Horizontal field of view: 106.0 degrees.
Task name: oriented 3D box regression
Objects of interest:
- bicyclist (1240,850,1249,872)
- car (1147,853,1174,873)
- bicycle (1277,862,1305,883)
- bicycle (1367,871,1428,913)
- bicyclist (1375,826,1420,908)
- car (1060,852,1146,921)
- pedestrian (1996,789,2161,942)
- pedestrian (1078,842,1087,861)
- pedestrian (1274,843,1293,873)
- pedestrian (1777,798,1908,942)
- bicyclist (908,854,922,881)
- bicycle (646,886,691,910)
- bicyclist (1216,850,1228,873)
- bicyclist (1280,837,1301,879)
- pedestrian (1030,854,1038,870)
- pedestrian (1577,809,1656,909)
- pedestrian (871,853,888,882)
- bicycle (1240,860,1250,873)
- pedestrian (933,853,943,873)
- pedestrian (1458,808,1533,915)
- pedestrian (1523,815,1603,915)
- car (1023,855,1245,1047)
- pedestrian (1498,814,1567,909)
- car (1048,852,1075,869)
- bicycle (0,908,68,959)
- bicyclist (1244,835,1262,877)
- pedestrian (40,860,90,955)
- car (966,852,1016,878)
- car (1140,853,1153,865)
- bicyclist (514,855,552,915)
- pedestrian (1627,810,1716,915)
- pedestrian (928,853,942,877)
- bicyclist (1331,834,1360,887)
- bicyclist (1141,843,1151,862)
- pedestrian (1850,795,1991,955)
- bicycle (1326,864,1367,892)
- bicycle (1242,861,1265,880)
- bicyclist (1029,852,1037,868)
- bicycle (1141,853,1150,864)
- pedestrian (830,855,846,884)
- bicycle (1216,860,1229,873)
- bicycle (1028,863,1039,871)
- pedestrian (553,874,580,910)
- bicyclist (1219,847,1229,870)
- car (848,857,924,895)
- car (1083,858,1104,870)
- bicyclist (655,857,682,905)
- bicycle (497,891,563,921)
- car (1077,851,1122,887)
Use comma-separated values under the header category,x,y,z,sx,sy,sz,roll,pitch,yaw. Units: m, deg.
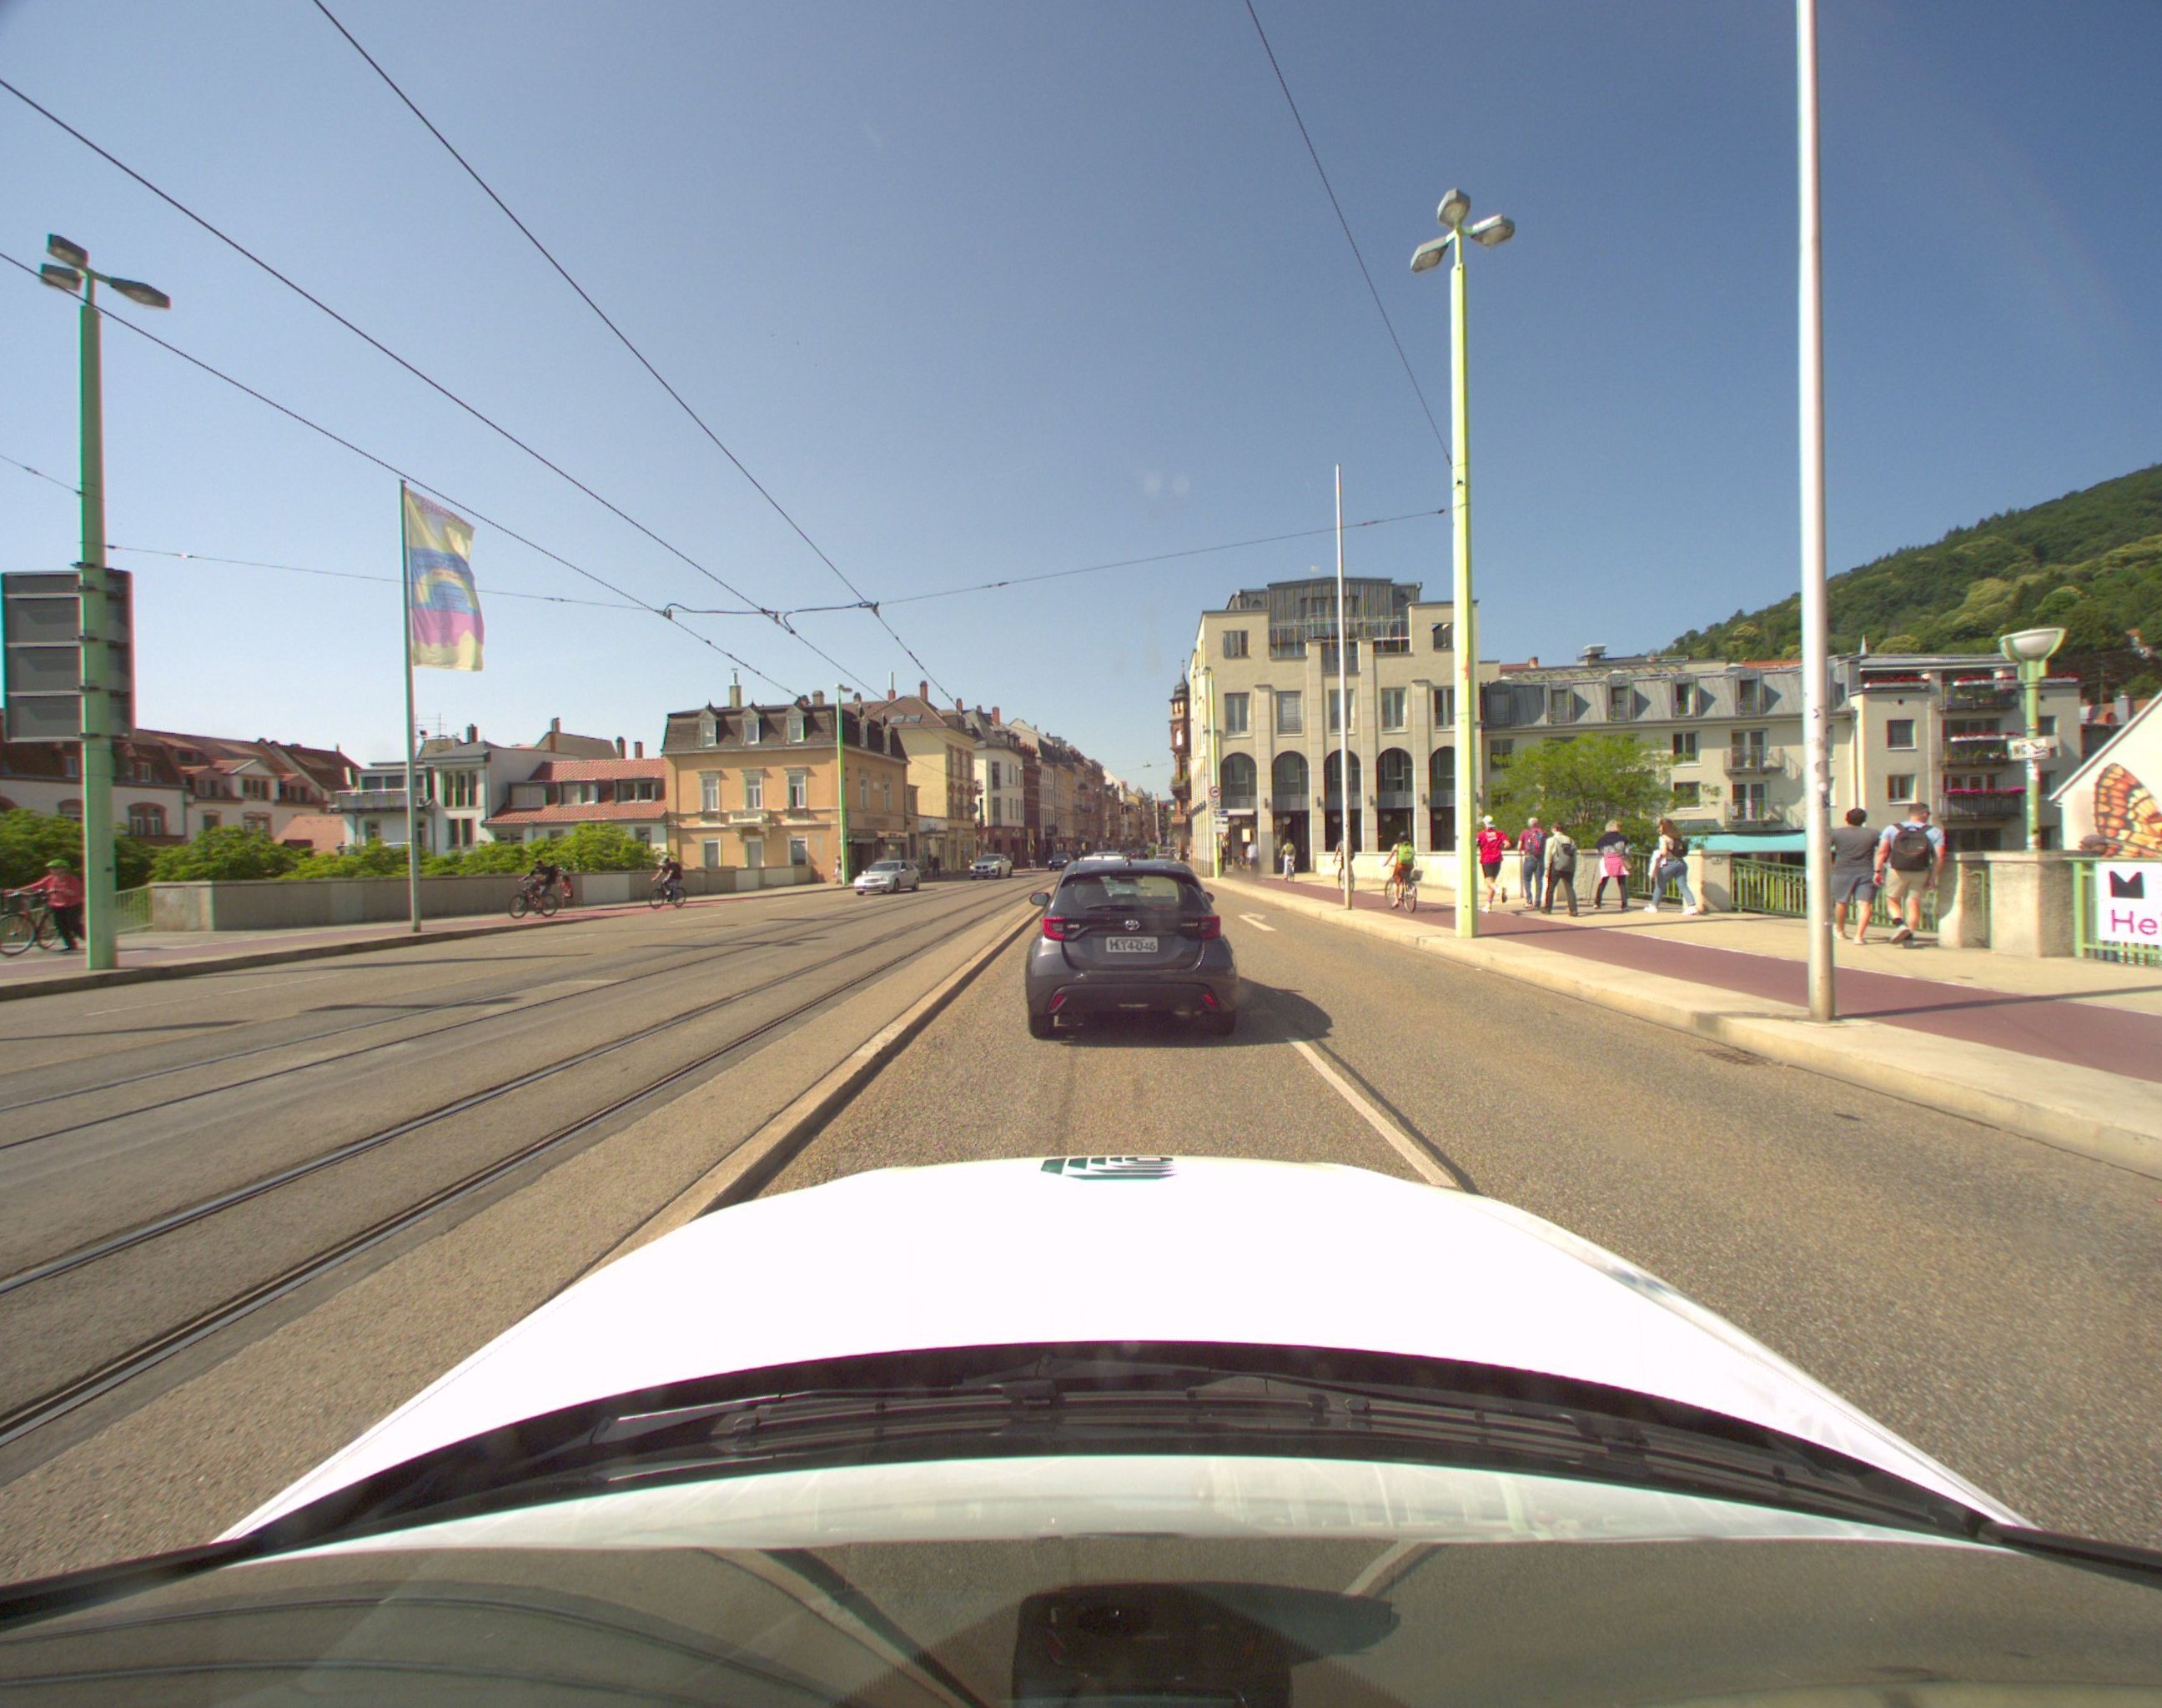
category,x,y,z,sx,sy,sz,roll,pitch,yaw
bicyclist,10.113,0.427,50.413,0.420,1.383,0.444,-3,0,1
car,6.032,0.681,62.018,1.699,1.466,4.327,0,0,1
bicycle,8.277,0.711,32.162,0.592,0.765,1.866,-2,0,-1
bicycle,6.602,0.776,17.088,0.591,0.765,1.867,-2,0,2
bicyclist,6.575,0.264,16.950,0.602,1.650,0.702,-2,0,2
car,0.538,0.724,20.059,1.890,1.530,4.001,0,0,1
pedestrian,12.642,0.125,10.209,1.201,1.777,0.979,-3,0,-4
pedestrian,0.195,-0.323,115.678,1.047,2.588,1.502,3,0,2
pedestrian,11.444,0.221,46.062,0.736,1.615,1.016,3,0,1
pedestrian,9.698,0.199,10.424,0.734,1.718,1.019,-3,0,11
bicyclist,-10.320,0.842,50.617,0.623,1.650,0.623,0,1,10
bicycle,-14.443,1.539,28.564,0.618,0.716,1.732,0,1,2
bicyclist,8.814,0.447,50.951,0.532,1.383,0.669,-3,0,1
bicyclist,8.254,0.159,32.157,0.585,1.650,0.702,-2,0,-1
pedestrian,-5.237,0.844,91.299,0.733,1.766,0.787,-1,1,2
pedestrian,10.066,0.086,15.345,0.736,1.777,1.016,-3,0,1
pedestrian,-12.440,0.815,50.324,0.733,1.766,0.787,3,0,2
bicycle,10.129,0.750,50.407,0.415,0.765,0.962,-3,0,2
pedestrian,-11.445,0.723,65.278,0.646,1.602,0.566,3,2,2
pedestrian,7.875,0.132,15.518,0.808,1.924,1.128,-2,0,1
pedestrian,8.725,0.191,14.797,0.752,1.718,1.073,-3,0,1
car,0.455,0.748,8.129,1.713,1.473,3.659,0,0,1
pedestrian,8.972,0.138,16.218,0.736,1.802,1.016,-3,0,1
car,-1.758,0.587,75.684,1.784,1.545,3.930,-2,0,8
bicycle,-18.645,1.382,14.337,0.625,0.716,1.911,0,1,-39
bicyclist,7.766,0.092,36.800,0.585,1.820,0.702,-2,0,-1
pedestrian,-18.139,0.934,14.553,0.415,1.632,0.620,1,0,-39
car,-5.827,0.695,53.115,1.981,1.586,4.665,-2,0,10
car,11.080,0.866,138.394,1.983,2.013,4.007,3,0,6
bicyclist,-15.554,0.870,23.119,0.625,1.650,0.622,0,1,2
pedestrian,10.348,0.146,14.307,0.737,1.746,1.015,-3,0,-2
pedestrian,-10.635,0.806,59.422,0.757,1.654,0.713,3,0,9
bicyclist,7.988,0.199,24.624,0.585,1.559,0.702,-2,0,-1
bicyclist,8.737,-0.230,109.261,1.222,2.529,1.106,3,0,5
pedestrian,9.584,0.228,9.349,0.733,1.718,1.021,-2,0,22
bicycle,8.007,0.710,24.661,0.592,0.765,1.830,-2,0,-1
bicycle,7.793,0.728,36.773,0.592,0.765,1.866,-2,0,-1
bicyclist,-4.751,0.601,80.931,0.701,1.650,0.623,0,1,10
bicycle,8.661,0.610,109.166,1.107,1.420,3.011,3,0,5
pedestrian,-13.858,0.883,46.451,0.646,1.602,0.566,3,2,2
bicycle,8.829,0.794,50.876,0.512,0.765,1.661,-3,0,2
bicycle,-4.732,1.250,80.998,0.616,0.716,2.051,0,1,11
pedestrian,-16.954,1.231,26.836,0.409,1.146,0.546,3,0,13
bicyclist,9.506,0.291,54.144,0.438,1.466,0.488,-3,0,24
car,-8.321,0.904,35.195,1.722,1.460,4.382,-2,0,7
car,1.500,1.203,98.496,1.982,1.432,4.010,0,0,8
bicyclist,-14.447,0.925,28.536,0.625,1.650,0.622,0,1,2
bicycle,-15.554,1.463,23.052,0.618,0.716,1.772,0,1,2
car,0.820,0.623,36.436,1.890,1.530,4.001,0,0,1
